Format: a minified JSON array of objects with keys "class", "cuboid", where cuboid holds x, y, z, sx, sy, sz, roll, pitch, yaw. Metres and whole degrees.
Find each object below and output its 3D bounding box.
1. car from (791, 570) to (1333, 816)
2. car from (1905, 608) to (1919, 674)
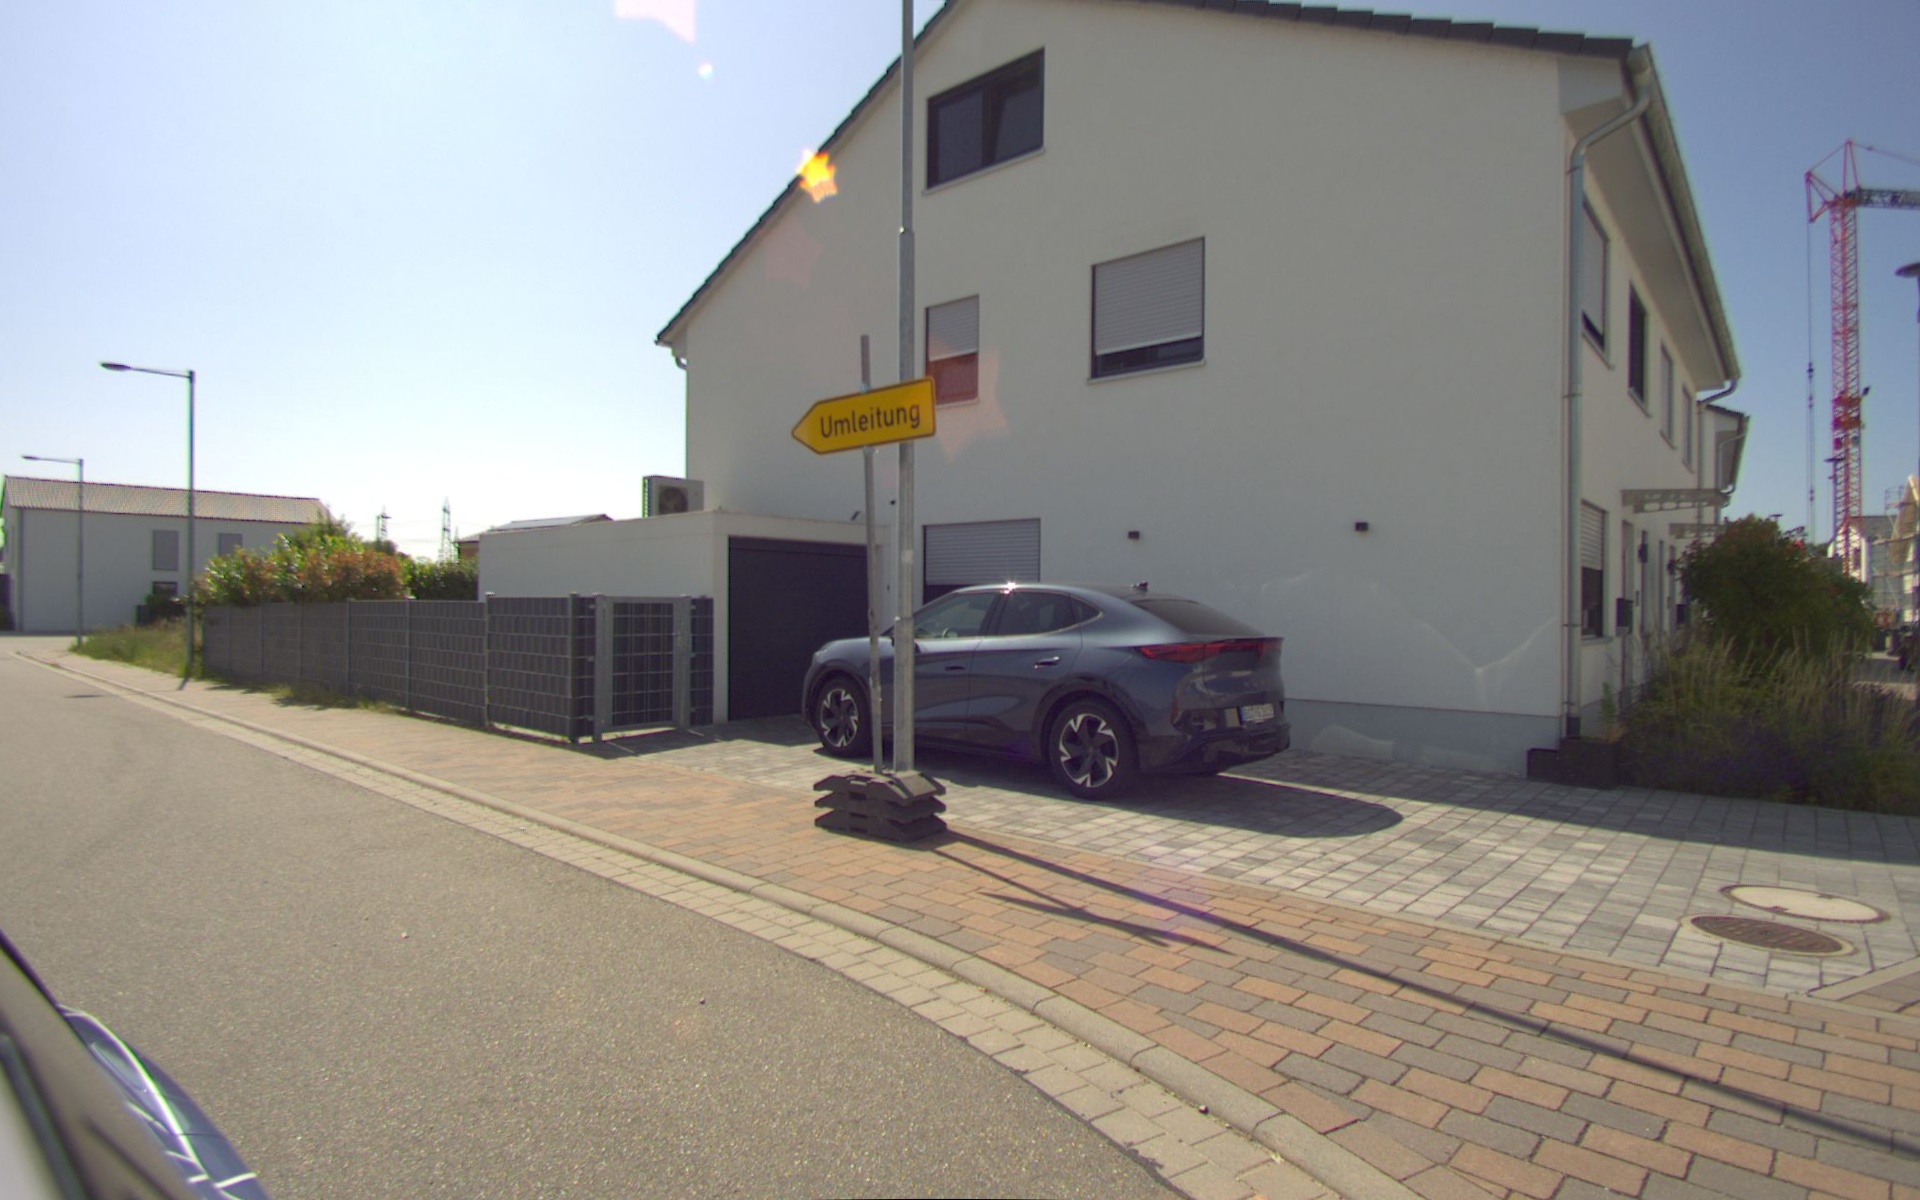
[{"class":"car","cuboid":[0.677,0.632,8.681,4.350,1.570,1.933,-1,-2,43]},{"class":"car","cuboid":[23.897,0.949,23.993,1.910,1.490,3.947,-1,0,39]}]
